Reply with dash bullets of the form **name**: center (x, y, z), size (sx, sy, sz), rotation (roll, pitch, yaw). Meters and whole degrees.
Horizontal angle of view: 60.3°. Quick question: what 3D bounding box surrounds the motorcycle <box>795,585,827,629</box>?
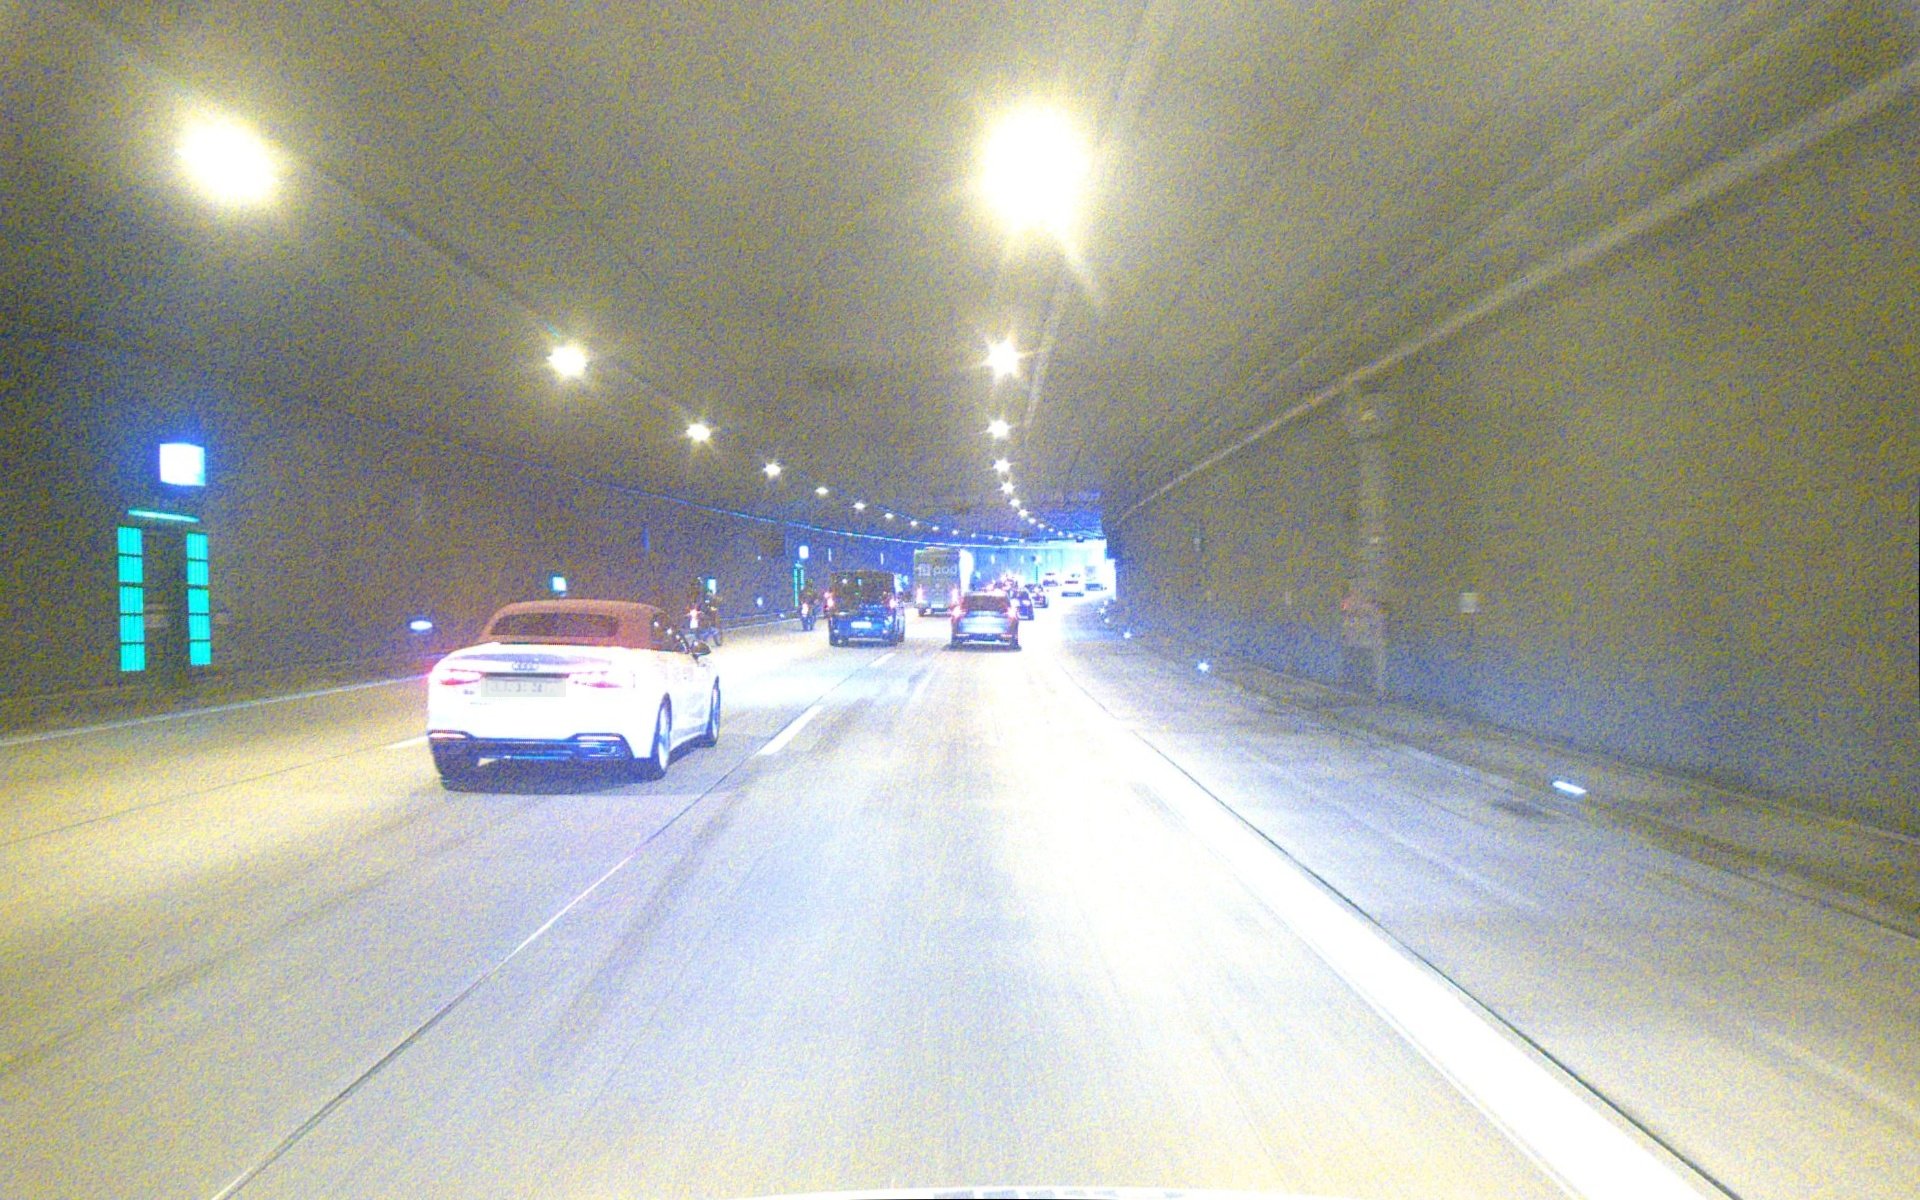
- **motorcycle**: center (-5.120, 0.262, 56.832), size (0.907, 1.459, 2.962), rotation (1, -1, -2)

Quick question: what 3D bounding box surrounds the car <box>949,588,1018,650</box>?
- **car**: center (0.675, 0.468, 43.876), size (1.706, 1.489, 3.873), rotation (0, 1, 2)

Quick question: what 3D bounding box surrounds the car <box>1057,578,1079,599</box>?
- **car**: center (9.298, -0.984, 142.131), size (1.890, 1.671, 4.002), rotation (0, -1, 4)

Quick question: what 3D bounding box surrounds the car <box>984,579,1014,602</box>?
- **car**: center (2.939, -0.686, 124.003), size (1.951, 1.660, 4.002), rotation (1, 0, 5)

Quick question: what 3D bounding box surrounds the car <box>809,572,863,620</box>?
- **car**: center (-5.491, -0.175, 73.525), size (1.952, 2.049, 4.001), rotation (0, 0, 2)

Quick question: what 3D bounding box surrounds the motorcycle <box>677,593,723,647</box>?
- **motorcycle**: center (-6.465, 0.498, 41.172), size (0.668, 1.320, 2.399), rotation (0, -1, 2)

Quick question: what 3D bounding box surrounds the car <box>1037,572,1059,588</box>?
- **car**: center (10.008, -2.290, 187.855), size (1.889, 1.671, 4.003), rotation (0, -1, 11)

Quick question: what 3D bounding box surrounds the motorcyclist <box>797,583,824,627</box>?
- **motorcyclist**: center (-5.128, 0.180, 56.876), size (0.790, 1.474, 1.864), rotation (0, -2, -1)

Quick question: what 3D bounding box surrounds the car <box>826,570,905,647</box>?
- **car**: center (-2.513, 0.188, 44.814), size (1.870, 1.978, 3.872), rotation (0, 1, 0)

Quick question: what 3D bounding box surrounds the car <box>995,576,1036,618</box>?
- **car**: center (2.565, -0.136, 76.651), size (1.819, 1.887, 4.000), rotation (0, 0, 1)

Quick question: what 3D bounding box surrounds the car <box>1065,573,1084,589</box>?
- **car**: center (12.518, -2.069, 180.420), size (1.951, 1.660, 4.002), rotation (0, -1, 6)

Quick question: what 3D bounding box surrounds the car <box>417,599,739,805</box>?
- **car**: center (-3.114, 0.742, 14.539), size (1.667, 1.443, 5.060), rotation (0, 1, 0)

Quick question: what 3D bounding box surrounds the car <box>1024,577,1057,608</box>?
- **car**: center (4.991, -0.428, 103.039), size (1.909, 1.803, 4.000), rotation (1, -1, 1)

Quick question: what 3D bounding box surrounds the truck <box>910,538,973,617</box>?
- **truck**: center (-0.949, -1.069, 82.295), size (2.977, 3.737, 7.391), rotation (0, 0, -1)

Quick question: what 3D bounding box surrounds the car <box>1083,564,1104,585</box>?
- **car**: center (13.663, -2.608, 169.181), size (1.951, 2.049, 4.002), rotation (0, -1, 6)

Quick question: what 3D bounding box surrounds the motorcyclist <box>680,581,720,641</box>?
- **motorcyclist**: center (-6.461, 0.275, 41.175), size (0.761, 1.478, 1.069), rotation (1, -1, 3)

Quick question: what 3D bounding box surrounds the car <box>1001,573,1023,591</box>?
- **car**: center (5.044, -1.699, 160.302), size (1.890, 1.671, 4.002), rotation (0, 0, 4)
